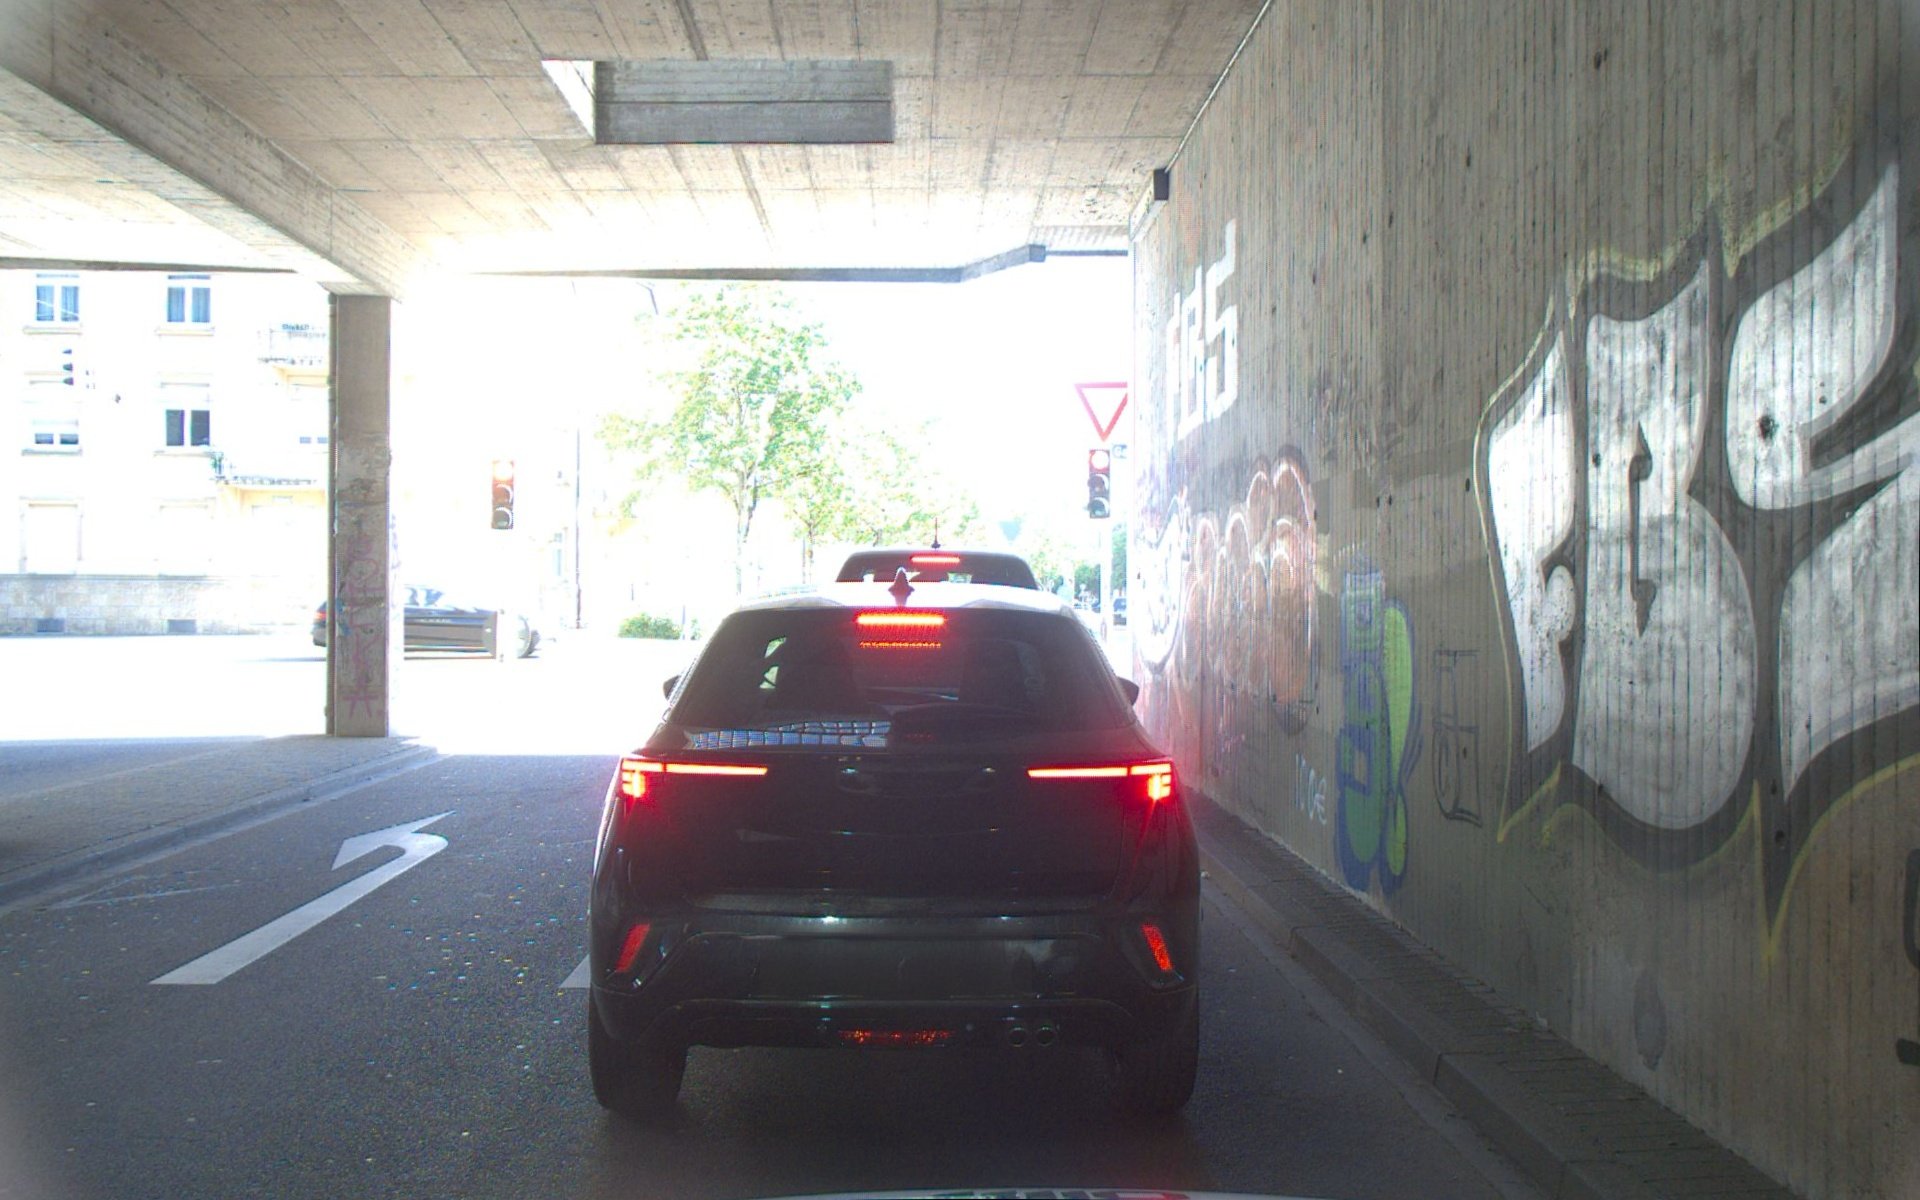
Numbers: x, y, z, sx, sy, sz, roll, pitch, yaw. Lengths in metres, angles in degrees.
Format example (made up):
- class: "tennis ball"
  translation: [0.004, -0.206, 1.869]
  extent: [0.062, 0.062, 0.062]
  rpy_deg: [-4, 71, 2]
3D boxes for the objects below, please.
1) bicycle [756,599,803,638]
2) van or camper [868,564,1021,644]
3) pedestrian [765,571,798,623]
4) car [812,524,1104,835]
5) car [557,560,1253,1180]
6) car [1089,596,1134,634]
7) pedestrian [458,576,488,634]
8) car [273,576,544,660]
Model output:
- class: "bicycle"
  translation: [-5.569, 0.558, 51.237]
  extent: [0.721, 1.150, 2.027]
  rpy_deg: [0, 0, 16]
- class: "van or camper"
  translation: [-0.368, 0.090, 43.467]
  extent: [3.795, 2.049, 2.002]
  rpy_deg: [0, 0, 7]
- class: "pedestrian"
  translation: [-5.543, -0.087, 51.323]
  extent: [0.720, 1.612, 0.891]
  rpy_deg: [1, -1, 15]
- class: "car"
  translation: [-0.030, 0.475, 12.034]
  extent: [1.749, 1.865, 3.960]
  rpy_deg: [1, 0, -1]
- class: "car"
  translation: [-0.151, 0.669, 6.143]
  extent: [1.718, 1.525, 4.000]
  rpy_deg: [1, 0, -1]
- class: "car"
  translation: [6.997, 0.681, 76.875]
  extent: [1.952, 1.670, 4.595]
  rpy_deg: [0, 0, 4]
- class: "pedestrian"
  translation: [-14.713, 0.151, 50.011]
  extent: [0.609, 1.734, 0.723]
  rpy_deg: [1, -1, 5]
- class: "car"
  translation: [-10.574, 0.323, 32.020]
  extent: [4.628, 1.561, 1.997]
  rpy_deg: [0, 0, -7]
